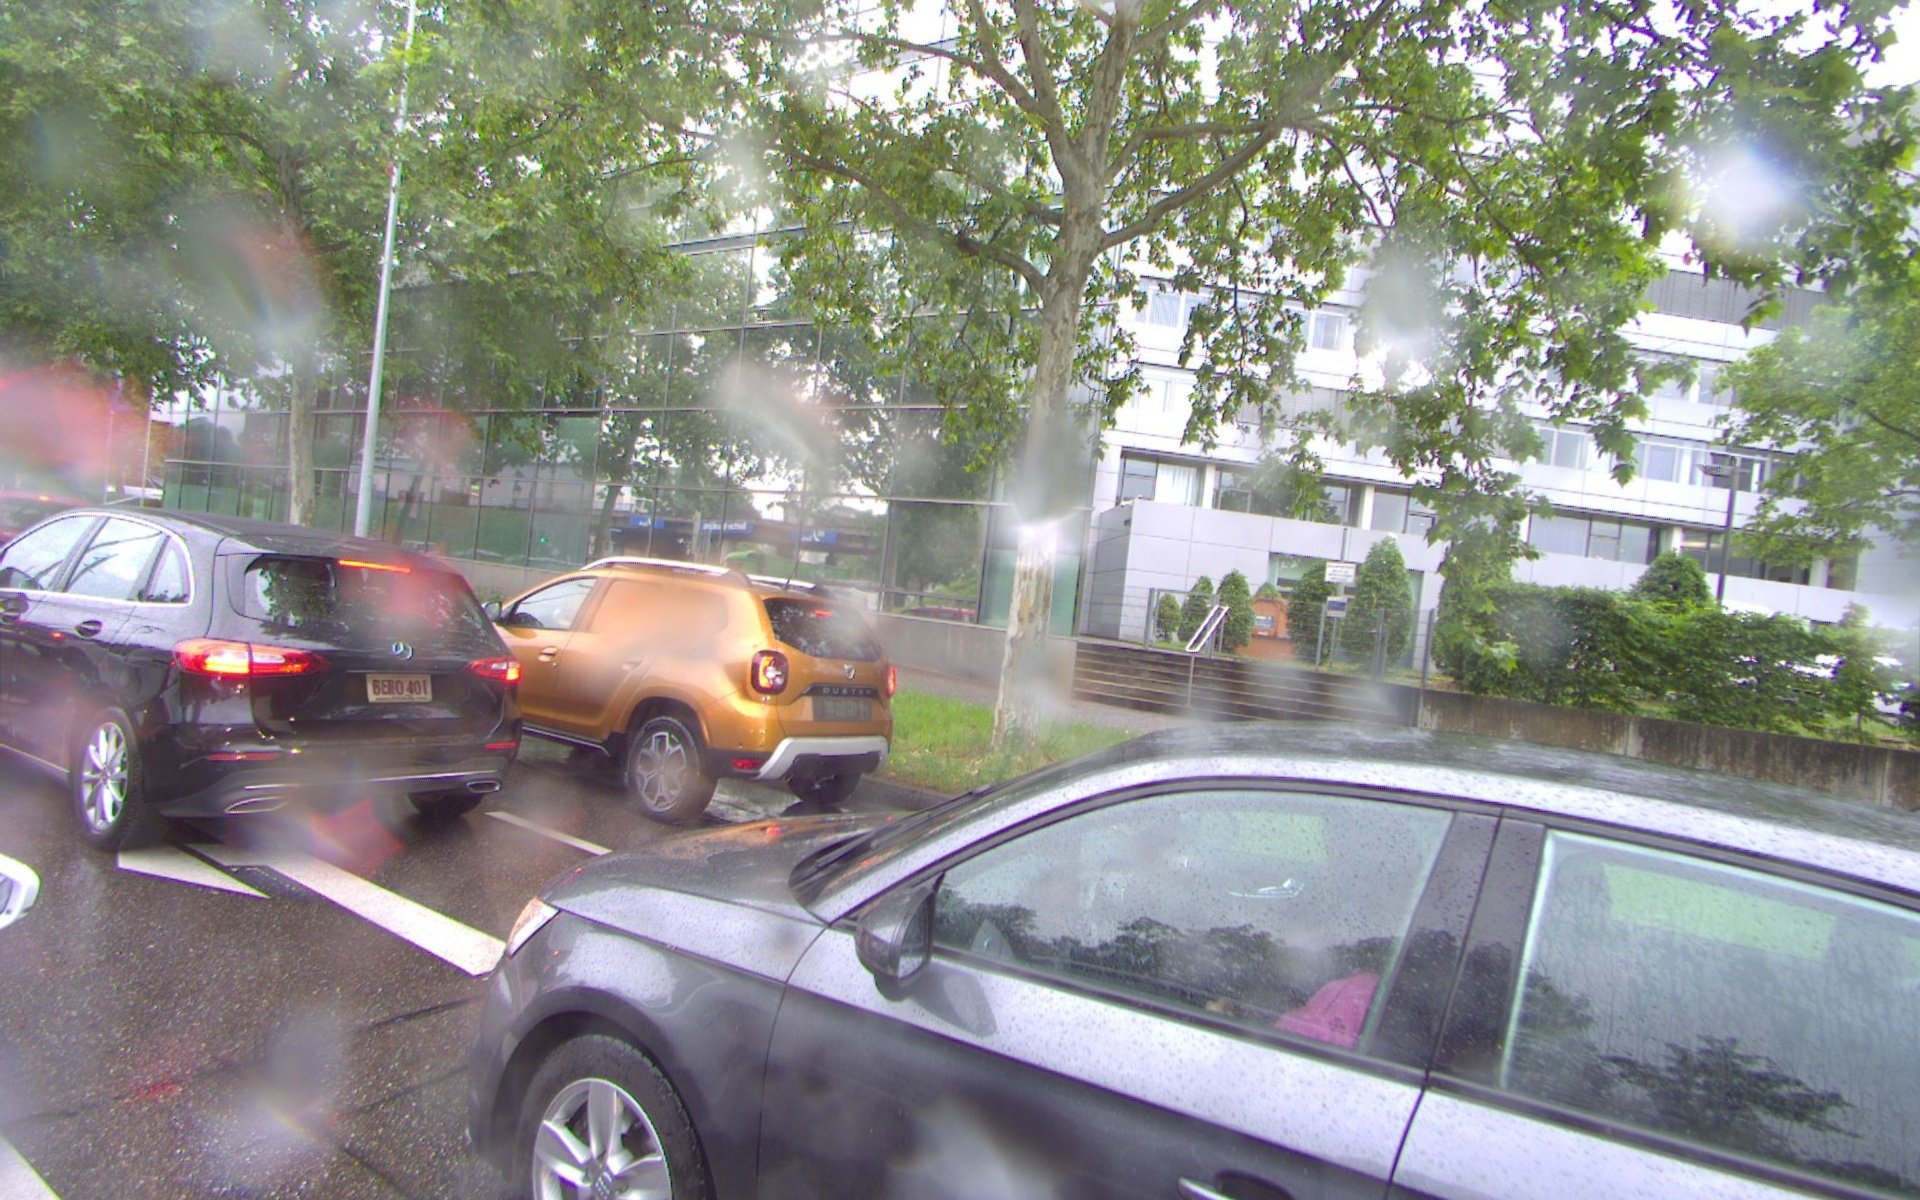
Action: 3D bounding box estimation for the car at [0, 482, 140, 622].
[{"bbox_3d":[-14.073,-0.808,14.796,4.201,1.714,1.714,6,-2,32],"label":"car"}]

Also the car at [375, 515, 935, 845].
[{"bbox_3d":[-2.450,0.480,7.760,4.079,1.704,1.679,8,-2,32],"label":"car"}]

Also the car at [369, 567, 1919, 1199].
[{"bbox_3d":[0.709,0.901,2.086,3.718,1.445,1.679,7,-1,31],"label":"car"}]

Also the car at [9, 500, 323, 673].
[{"bbox_3d":[-8.973,-0.172,11.339,3.332,1.480,1.572,7,-1,31],"label":"car"}]

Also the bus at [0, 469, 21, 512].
[{"bbox_3d":[-84.664,-9.755,82.048,2.436,3.465,12.012,7,0,17],"label":"bus"}]

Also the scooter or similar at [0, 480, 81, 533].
[{"bbox_3d":[-54.525,-5.523,58.148,5.228,2.476,1.893,7,0,-9],"label":"scooter or similar"}]

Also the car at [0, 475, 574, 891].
[{"bbox_3d":[-4.345,0.244,5.757,4.022,1.573,1.751,7,-1,31],"label":"car"}]
